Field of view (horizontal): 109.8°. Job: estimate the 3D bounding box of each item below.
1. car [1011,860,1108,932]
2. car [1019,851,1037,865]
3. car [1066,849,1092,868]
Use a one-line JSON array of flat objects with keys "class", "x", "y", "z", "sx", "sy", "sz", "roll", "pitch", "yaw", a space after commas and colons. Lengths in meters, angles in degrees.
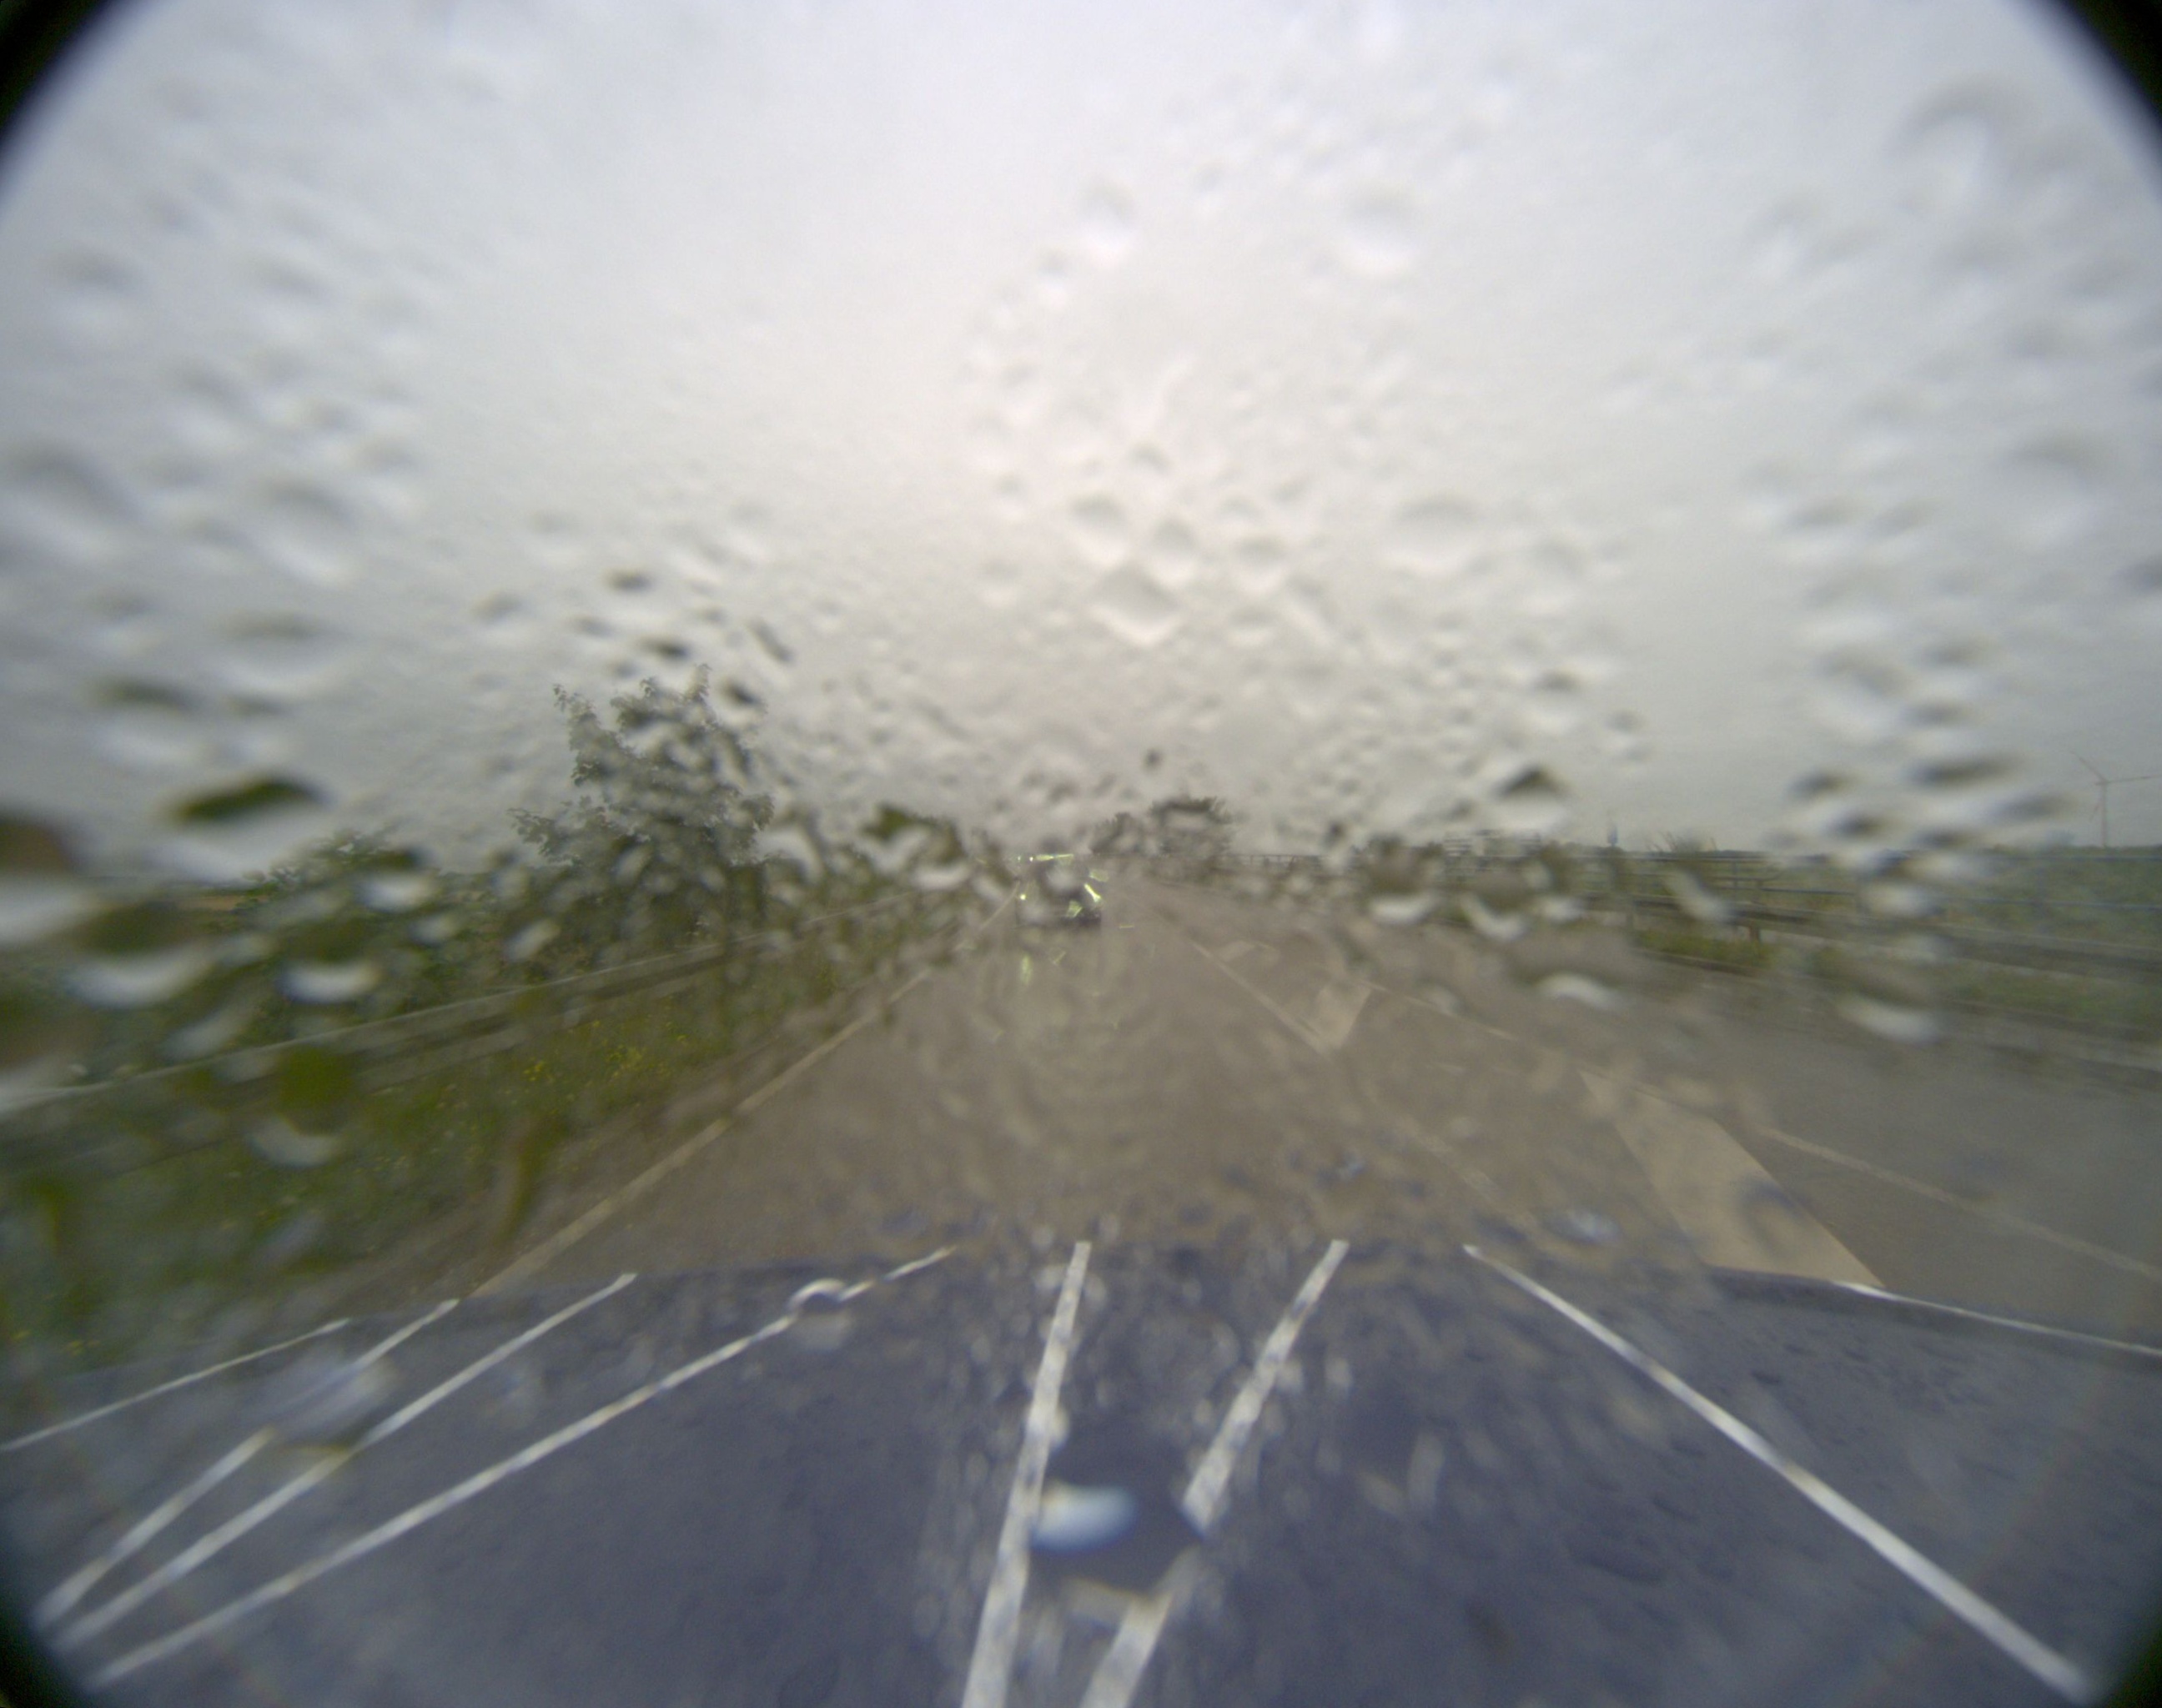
[{"class": "car", "x": -0.488, "y": 0.859, "z": 17.420, "sx": 1.909, "sy": 1.361, "sz": 4.564, "roll": -1, "pitch": 0, "yaw": -2}, {"class": "car", "x": -5.744, "y": 0.432, "z": 81.923, "sx": 1.910, "sy": 1.361, "sz": 4.563, "roll": -1, "pitch": 0, "yaw": -5}, {"class": "car", "x": -0.185, "y": 0.359, "z": 63.946, "sx": 1.786, "sy": 1.517, "sz": 4.166, "roll": 0, "pitch": 1, "yaw": -5}]
